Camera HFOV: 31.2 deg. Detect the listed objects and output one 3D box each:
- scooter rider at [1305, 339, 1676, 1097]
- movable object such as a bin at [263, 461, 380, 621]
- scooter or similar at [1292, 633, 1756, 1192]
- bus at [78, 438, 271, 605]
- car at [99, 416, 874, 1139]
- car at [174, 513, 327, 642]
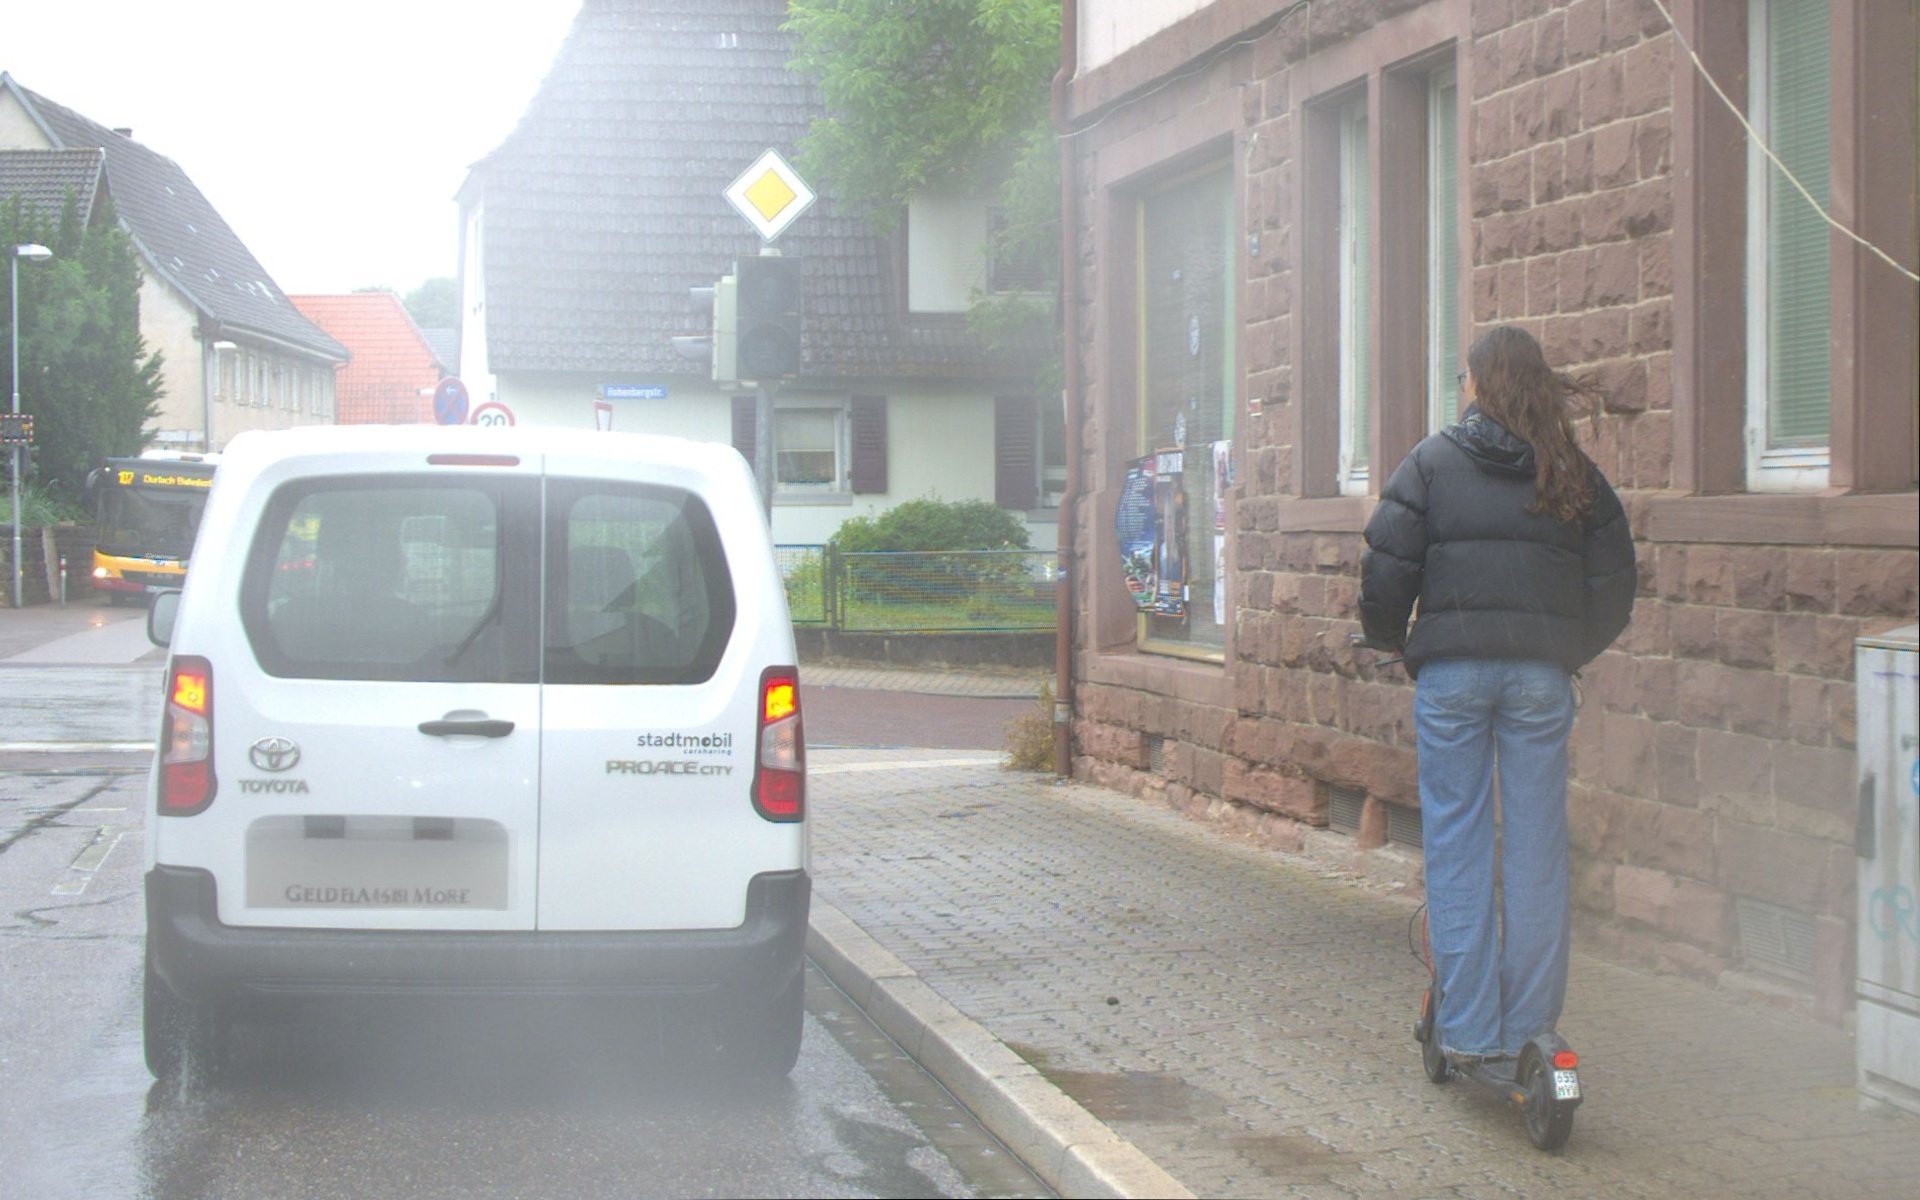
[{"bbox_3d":[1.246,0.268,8.144,0.730,1.727,0.518,0,0,-10],"label":"scooter rider"},{"bbox_3d":[-11.056,-1.033,59.718,1.726,2.644,3.975,1,1,-7],"label":"movable object such as a bin"},{"bbox_3d":[1.270,0.669,8.009,0.620,1.123,1.402,0,2,-10],"label":"scooter or similar"},{"bbox_3d":[-15.564,-1.712,68.895,2.649,2.989,12.197,1,3,-8],"label":"bus"},{"bbox_3d":[-1.512,0.413,10.535,1.894,1.787,3.815,1,1,-10],"label":"car"},{"bbox_3d":[-9.272,-0.325,45.149,1.809,1.591,3.757,1,1,-10],"label":"car"}]
